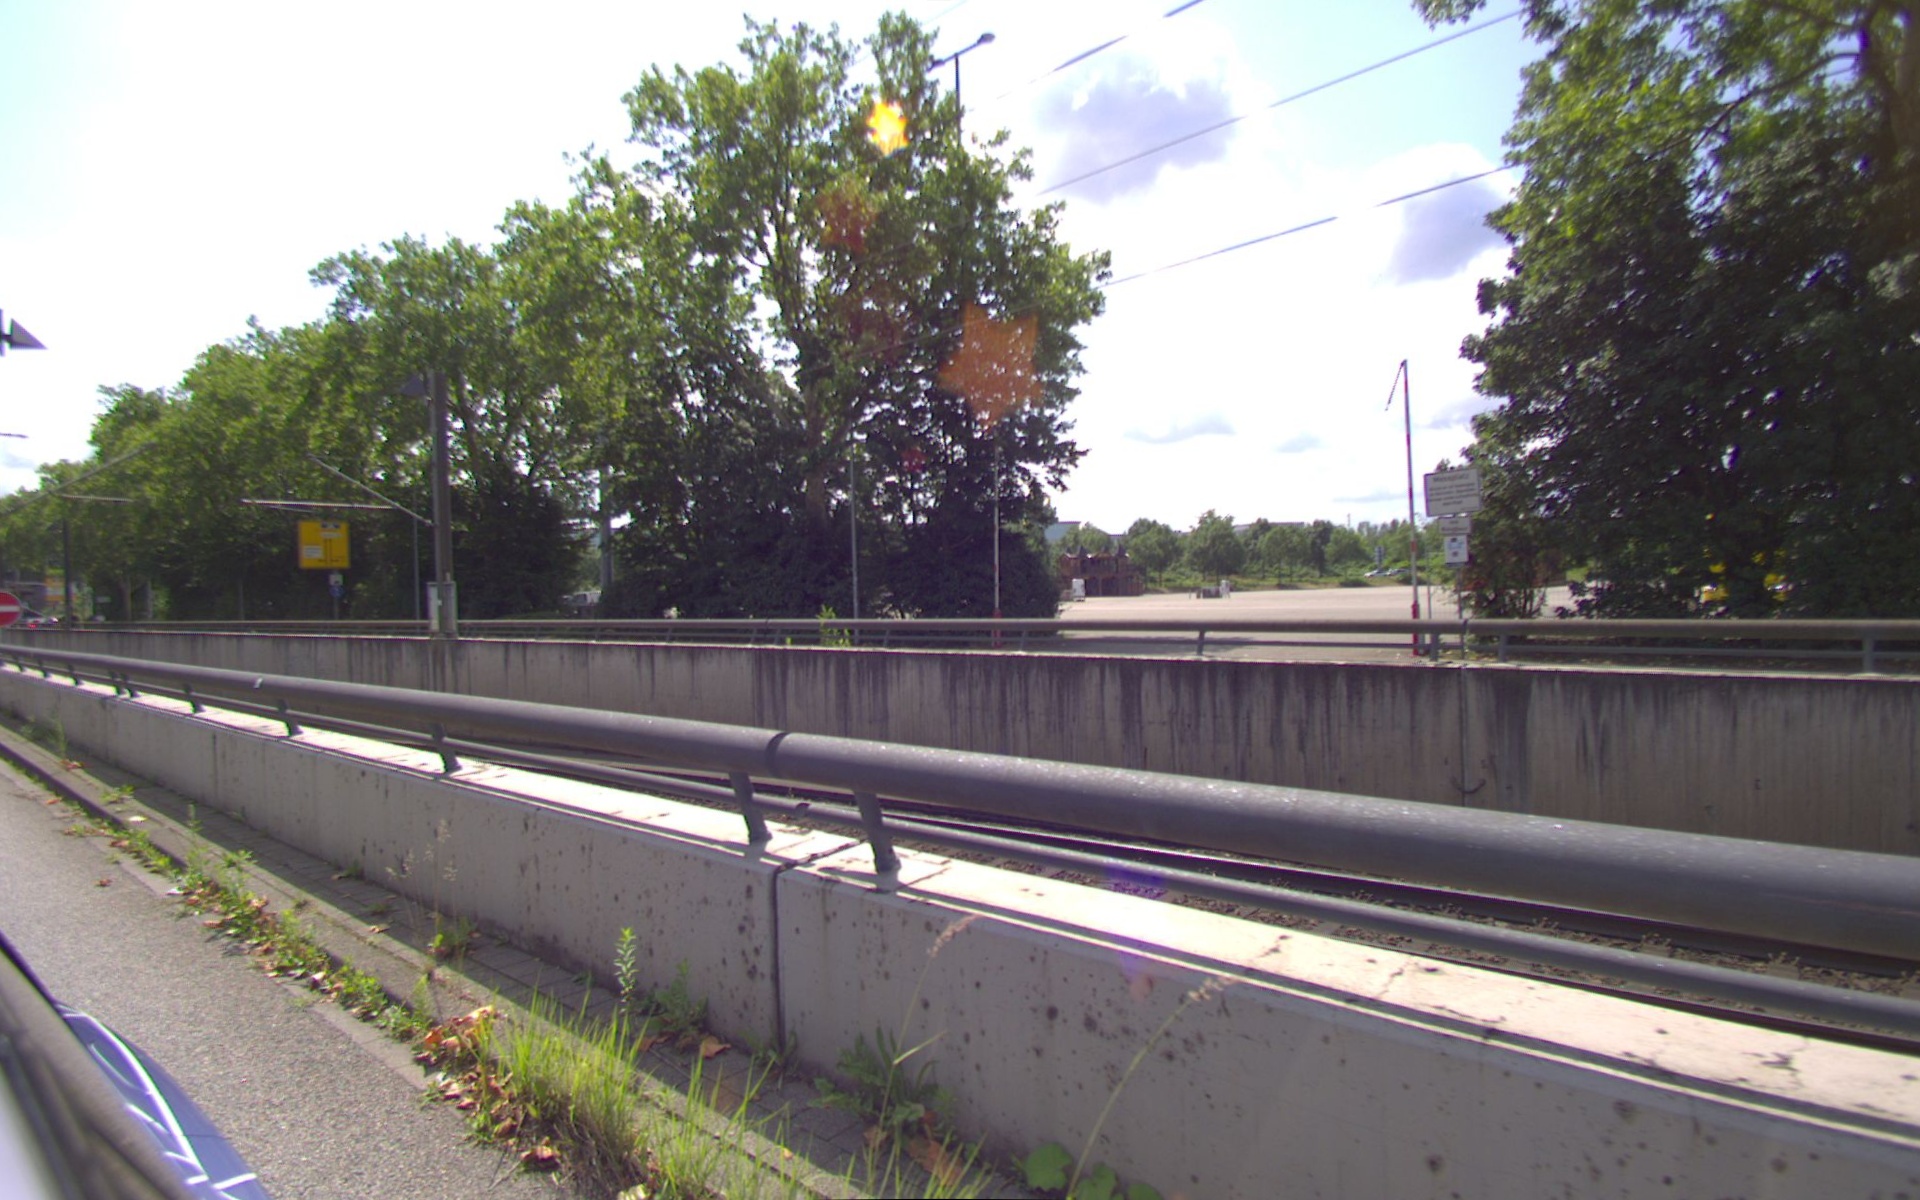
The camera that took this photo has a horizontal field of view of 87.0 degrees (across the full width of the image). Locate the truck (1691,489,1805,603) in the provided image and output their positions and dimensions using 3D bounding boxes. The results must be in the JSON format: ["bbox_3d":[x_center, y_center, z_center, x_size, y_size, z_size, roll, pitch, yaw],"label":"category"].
[{"bbox_3d":[33.050,-1.974,42.187,2.748,4.104,12.650,-1,0,42],"label":"truck"}]
